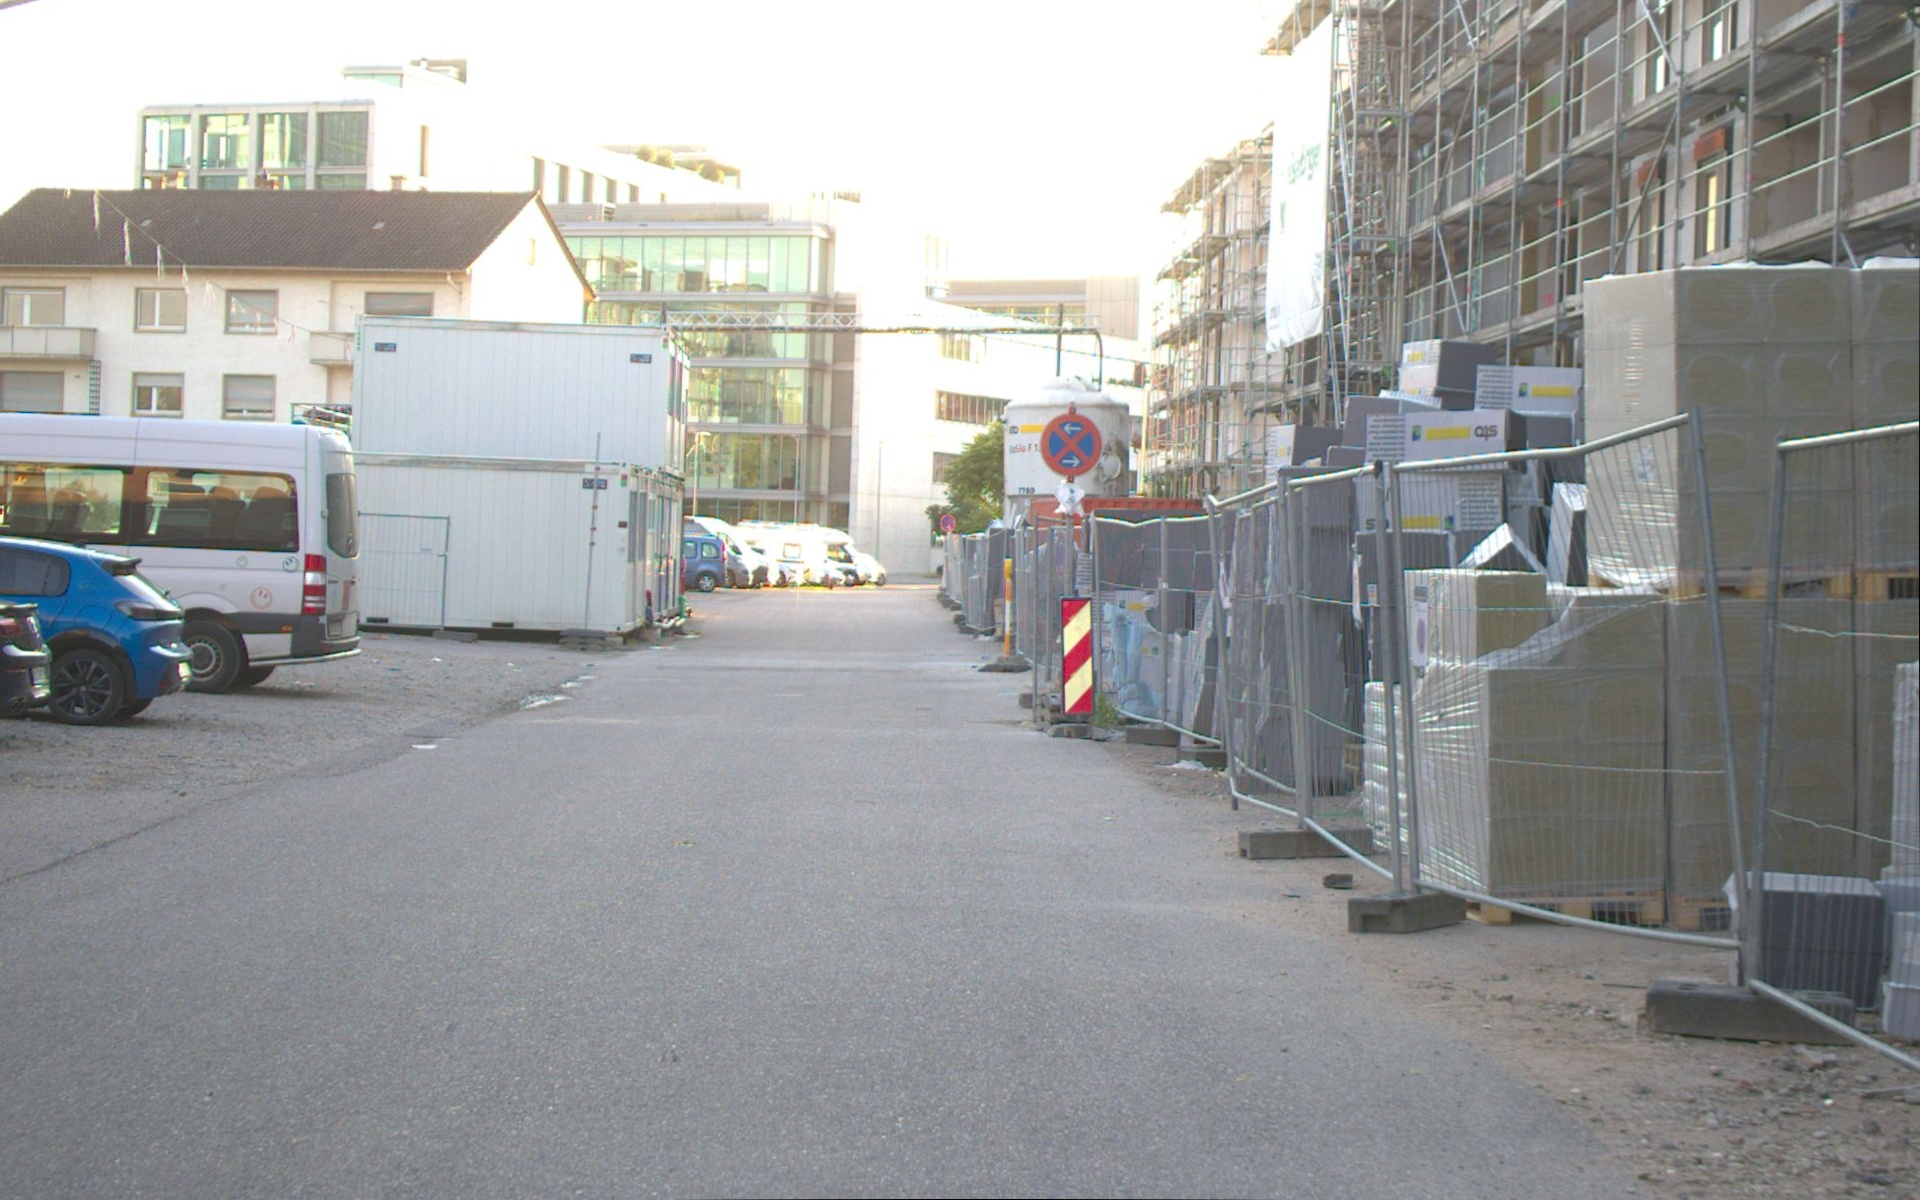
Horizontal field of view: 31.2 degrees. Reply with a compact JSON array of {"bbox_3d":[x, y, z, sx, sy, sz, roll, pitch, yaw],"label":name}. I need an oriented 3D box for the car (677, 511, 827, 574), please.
[{"bbox_3d":[-8.742,-2.419,144.782,5.926,2.481,1.999,2,1,10],"label":"car"}]

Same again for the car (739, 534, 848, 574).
[{"bbox_3d":[-7.378,-2.049,152.916,4.505,1.642,1.999,2,1,8],"label":"car"}]

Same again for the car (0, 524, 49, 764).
[{"bbox_3d":[-8.634,0.129,21.919,4.994,1.539,2.116,4,1,1],"label":"car"}]

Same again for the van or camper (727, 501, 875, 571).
[{"bbox_3d":[-7.322,-2.945,158.632,6.336,2.968,2.291,3,1,11],"label":"van or camper"}]

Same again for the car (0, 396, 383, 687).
[{"bbox_3d":[-8.797,-0.636,33.993,5.689,2.617,2.222,3,1,1],"label":"car"}]

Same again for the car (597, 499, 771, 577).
[{"bbox_3d":[-10.351,-2.334,129.408,6.328,2.731,2.000,1,1,0],"label":"car"}]

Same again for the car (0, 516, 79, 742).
[{"bbox_3d":[-8.659,0.082,24.302,4.415,1.539,1.728,3,1,-4],"label":"car"}]

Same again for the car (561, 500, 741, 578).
[{"bbox_3d":[-11.258,-2.232,125.534,6.328,2.642,2.000,1,1,0],"label":"car"}]

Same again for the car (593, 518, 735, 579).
[{"bbox_3d":[-9.649,-1.681,111.720,4.503,1.862,2.000,1,1,-6],"label":"car"}]

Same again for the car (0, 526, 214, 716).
[{"bbox_3d":[-8.191,0.099,28.061,3.836,1.424,1.728,3,1,-3],"label":"car"}]
